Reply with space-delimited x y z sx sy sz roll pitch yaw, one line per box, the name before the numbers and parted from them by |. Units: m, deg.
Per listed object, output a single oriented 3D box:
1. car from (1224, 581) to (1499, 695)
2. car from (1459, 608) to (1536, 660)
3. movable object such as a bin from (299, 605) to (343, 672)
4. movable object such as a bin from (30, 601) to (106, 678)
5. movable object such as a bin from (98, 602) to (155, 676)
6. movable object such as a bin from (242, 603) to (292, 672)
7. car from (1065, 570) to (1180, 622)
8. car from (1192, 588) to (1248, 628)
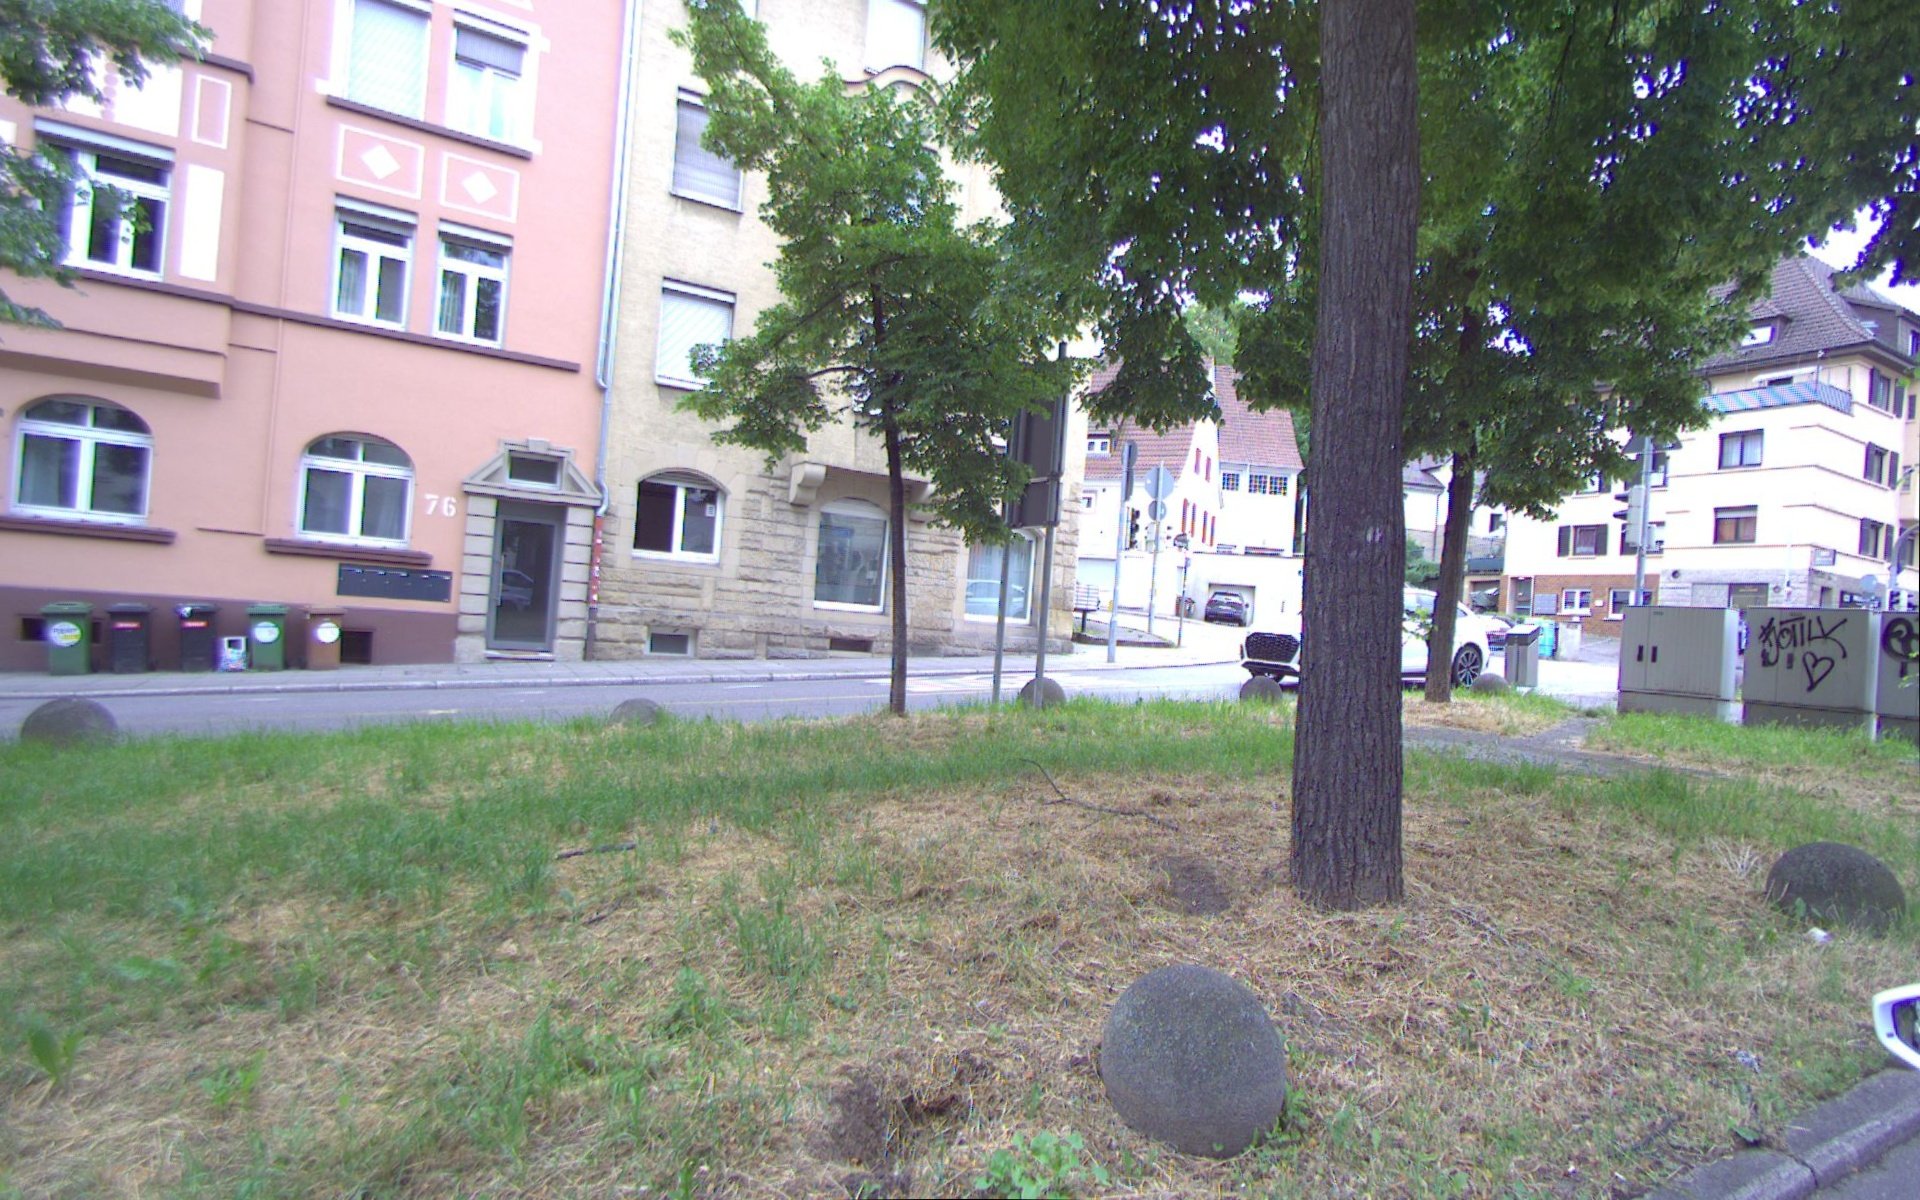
car | 6.649 0.556 16.544 4.437 1.650 1.885 0 1 -30
car | 21.808 1.339 40.918 1.832 1.619 3.519 2 6 13
movable object such as a bin | -9.272 0.545 14.568 0.510 0.934 0.752 2 0 -34
movable object such as a bin | -11.656 0.508 13.139 0.611 0.961 0.613 2 0 -31
movable object such as a bin | -11.129 0.514 13.428 0.528 0.958 0.576 2 0 -36
movable object such as a bin | -9.811 0.527 14.236 0.554 0.934 0.649 2 0 -34
car | 5.900 -0.143 36.596 3.652 1.461 1.756 8 3 34
car | 11.527 0.317 44.732 1.639 1.424 3.057 7 3 2
